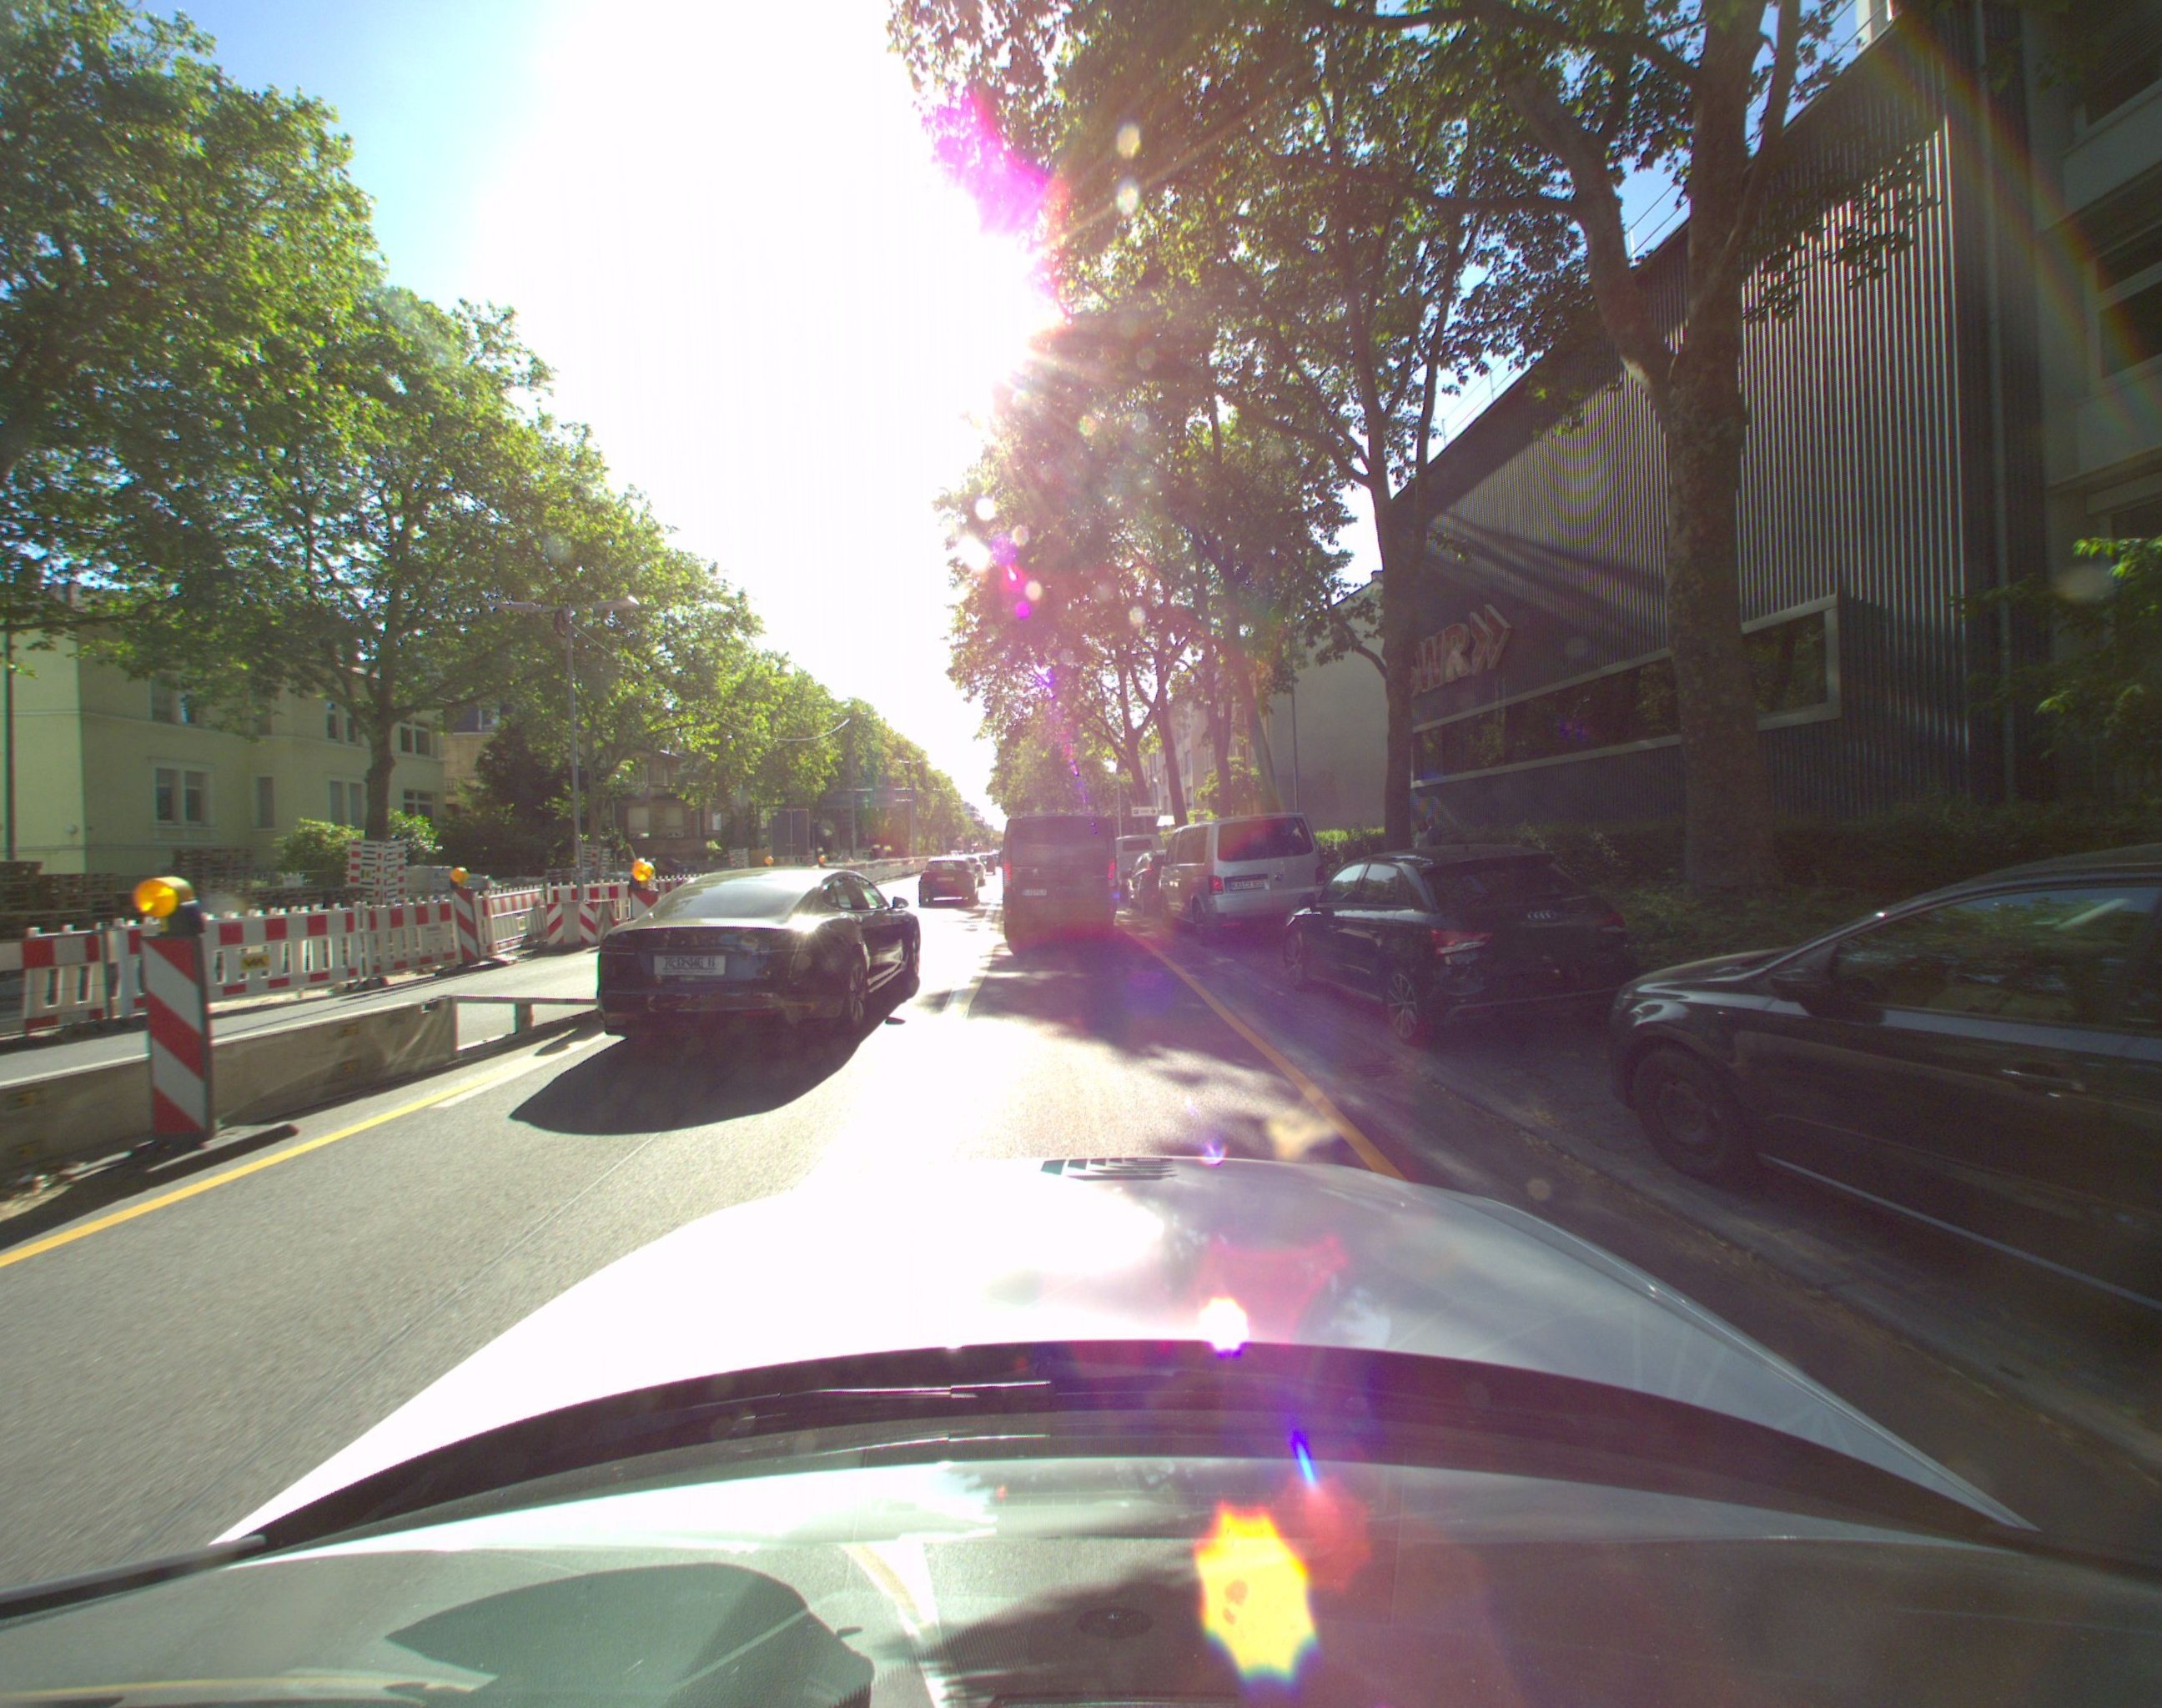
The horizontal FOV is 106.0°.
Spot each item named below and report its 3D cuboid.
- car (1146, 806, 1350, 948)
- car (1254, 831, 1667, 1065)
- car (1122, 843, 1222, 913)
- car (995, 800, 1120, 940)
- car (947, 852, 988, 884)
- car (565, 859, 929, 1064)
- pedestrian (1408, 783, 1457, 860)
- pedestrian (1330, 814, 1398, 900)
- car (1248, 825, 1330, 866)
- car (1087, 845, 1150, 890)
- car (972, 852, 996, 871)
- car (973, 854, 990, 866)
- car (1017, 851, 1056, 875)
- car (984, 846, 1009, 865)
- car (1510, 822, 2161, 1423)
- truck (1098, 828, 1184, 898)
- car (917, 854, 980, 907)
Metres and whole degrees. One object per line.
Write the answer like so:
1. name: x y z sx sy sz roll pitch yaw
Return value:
1. car: 2.611 0.318 14.266 2.023 1.946 5.263 -2 0 -5
2. car: 3.039 0.628 7.599 1.655 1.540 4.121 -1 0 -5
3. car: 2.120 0.523 19.983 1.744 1.477 4.097 -3 0 -3
4. car: -0.506 0.237 15.933 2.091 2.355 3.928 -1 1 -3
5. car: -5.396 0.624 38.946 1.544 1.425 3.552 -1 0 -2
6. car: -2.894 0.805 8.335 1.920 1.412 4.622 -1 0 -2
7. pedestrian: 7.747 -0.716 17.964 0.705 1.648 0.673 0 2 -8
8. pedestrian: 5.537 0.057 15.987 0.727 1.602 1.264 -2 0 -7
9. car: 9.896 -0.386 38.920 1.718 1.853 3.468 -1 0 -38
10. car: 1.333 0.471 30.849 1.818 1.507 4.670 -3 0 -4
11. car: -6.586 0.487 55.628 1.418 1.225 3.433 -2 0 -4
12. car: -12.629 0.769 103.465 1.990 1.469 3.995 -1 1 -4
13. car: -2.612 0.486 46.996 1.991 1.249 3.992 -2 0 -6
14. car: -7.824 0.147 75.708 1.989 1.588 3.997 -2 0 -2
15. car: 3.532 0.653 2.641 1.761 1.508 4.243 -2 0 -5
16. truck: 1.747 0.240 25.234 1.873 1.881 4.446 3 0 -5
17. car: -4.067 0.770 25.540 1.744 1.407 3.992 -1 1 -6
